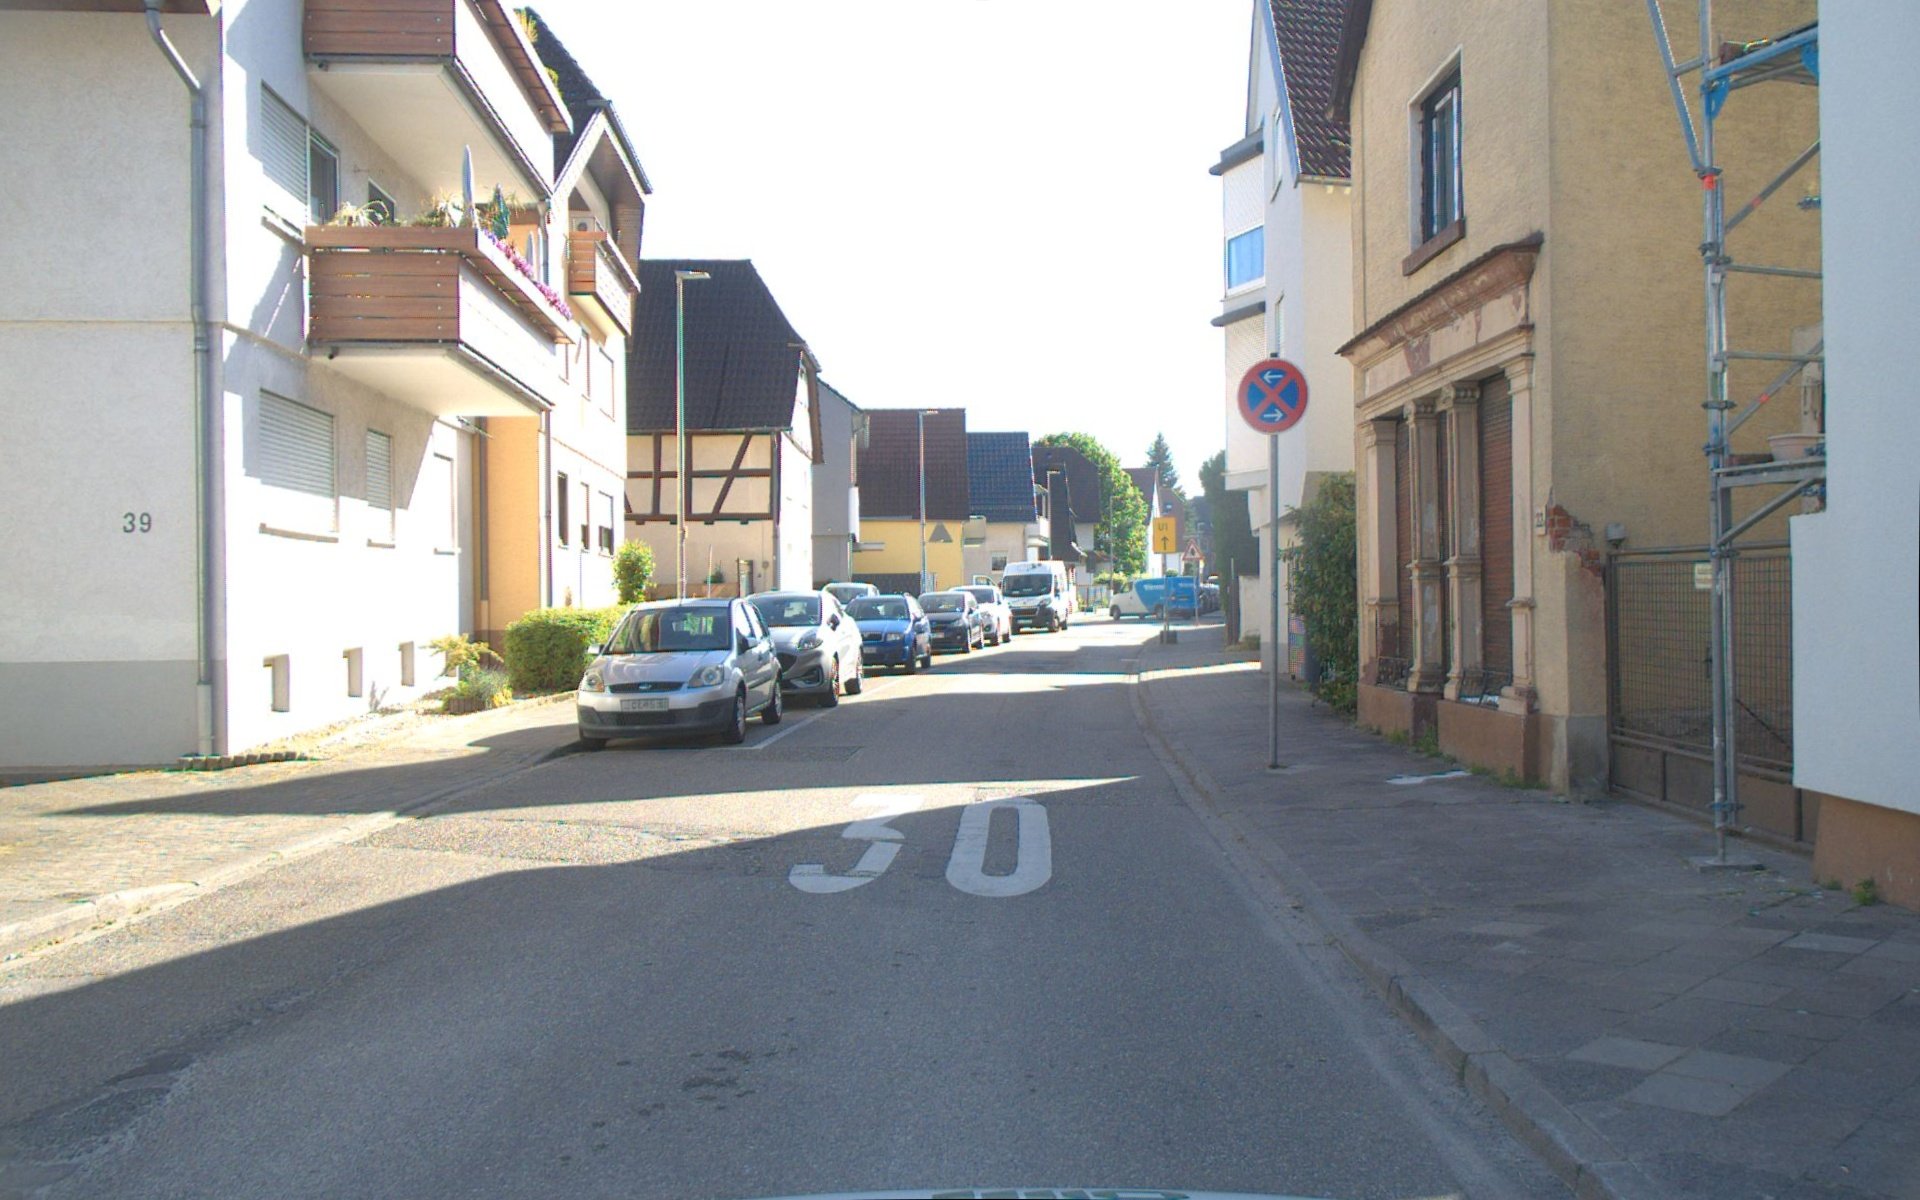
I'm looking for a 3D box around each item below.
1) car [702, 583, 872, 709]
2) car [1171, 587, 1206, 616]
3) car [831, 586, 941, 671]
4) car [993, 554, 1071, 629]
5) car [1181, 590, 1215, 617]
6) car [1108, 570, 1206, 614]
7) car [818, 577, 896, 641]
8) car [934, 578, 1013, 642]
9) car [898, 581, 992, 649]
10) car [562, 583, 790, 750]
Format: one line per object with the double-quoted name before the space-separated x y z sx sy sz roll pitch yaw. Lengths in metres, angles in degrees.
"car" -2.305 0.564 23.041 1.638 1.532 4.097 -2 1 4
"car" 12.200 0.073 88.486 1.805 1.437 4.002 1 -1 7
"car" -1.361 0.508 31.879 1.604 1.466 4.077 -2 0 4
"car" 2.614 -0.322 58.665 2.033 2.436 5.213 -3 0 10
"car" 13.505 0.202 93.958 1.805 1.437 4.002 1 -1 7
"car" 9.027 -0.350 76.093 1.903 1.833 4.726 -3 1 -32
"car" -2.809 0.206 45.718 1.685 1.624 4.018 1 1 3
"car" 0.416 0.247 45.656 1.638 1.599 3.969 -3 0 8
"car" -0.330 0.338 41.453 1.667 1.545 4.125 -3 0 8
"car" -2.937 0.627 17.877 1.597 1.532 3.854 -2 1 2
